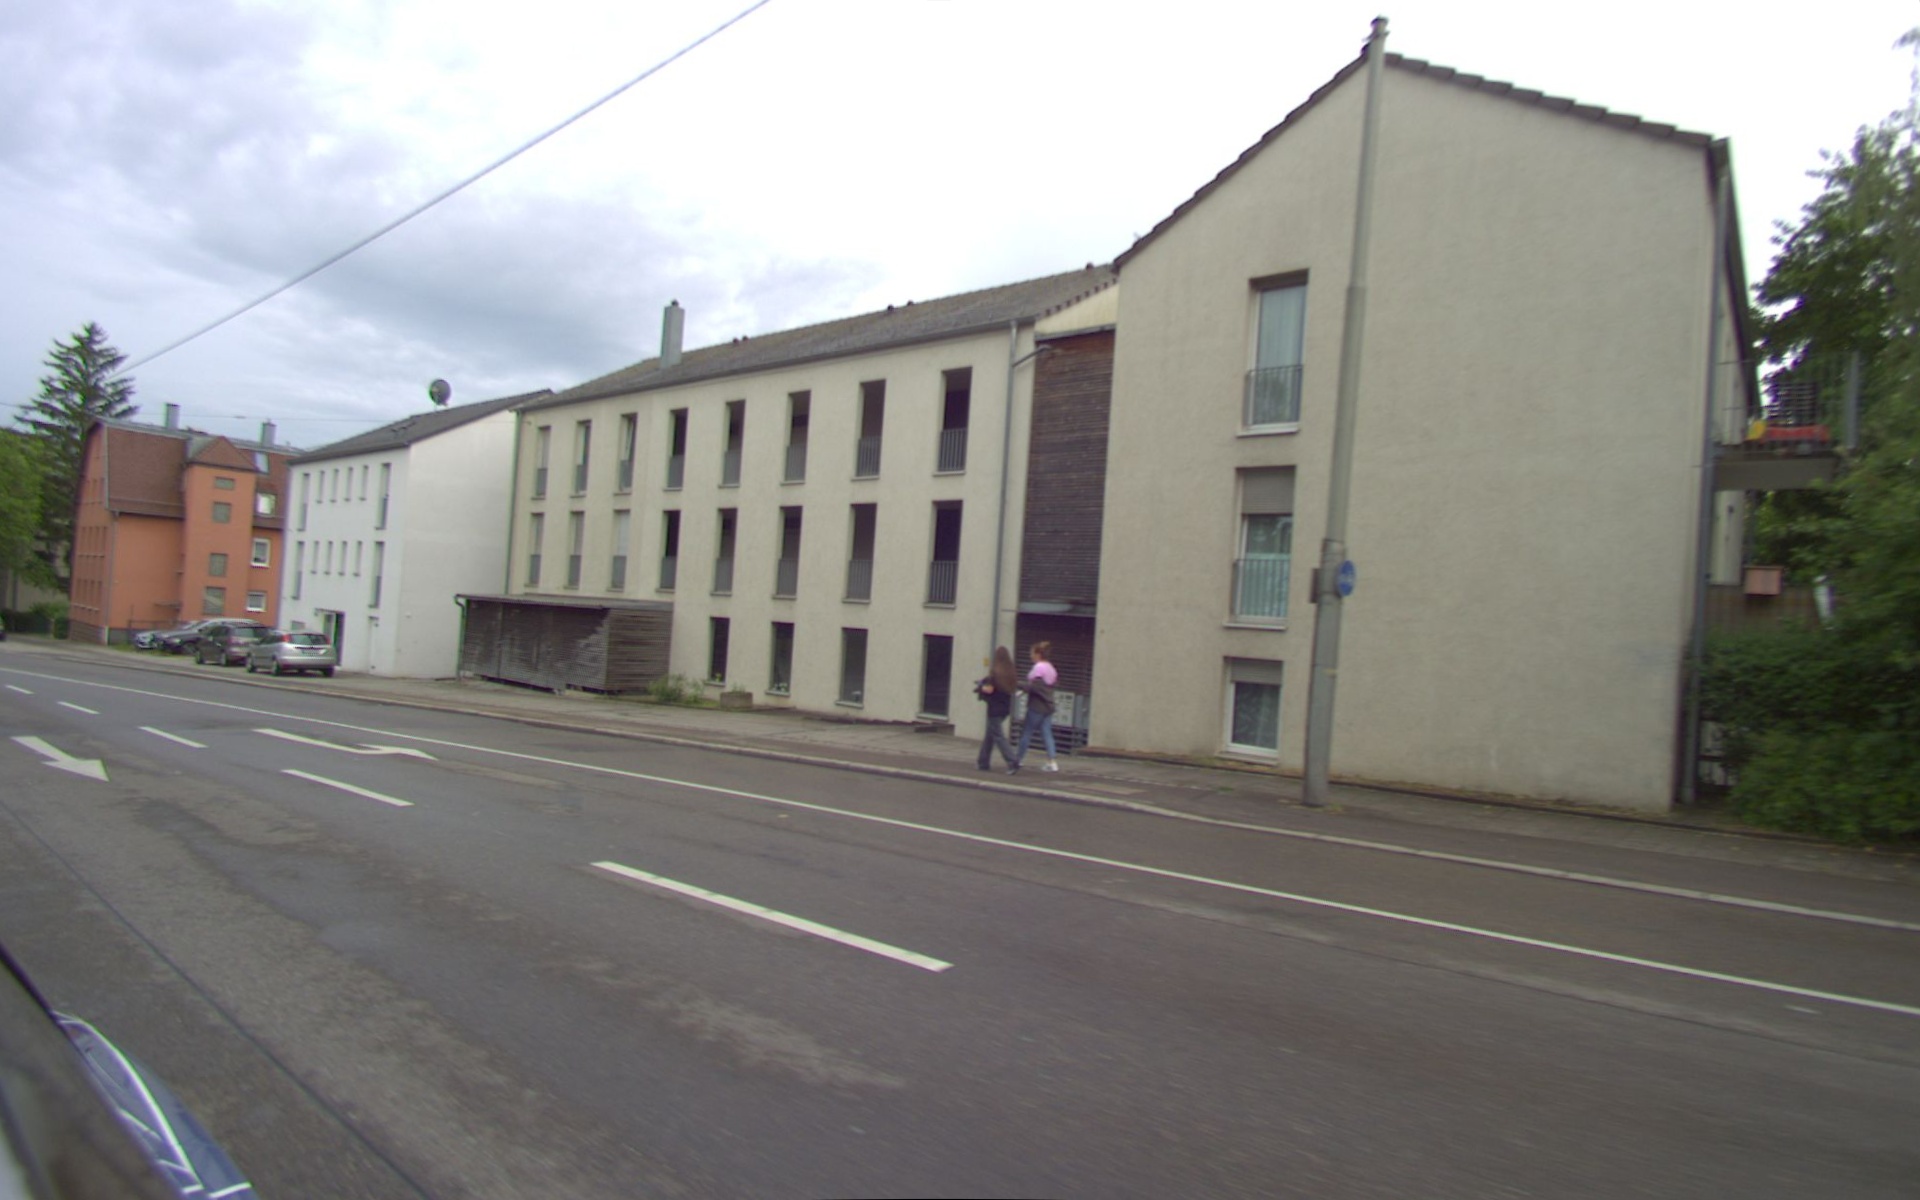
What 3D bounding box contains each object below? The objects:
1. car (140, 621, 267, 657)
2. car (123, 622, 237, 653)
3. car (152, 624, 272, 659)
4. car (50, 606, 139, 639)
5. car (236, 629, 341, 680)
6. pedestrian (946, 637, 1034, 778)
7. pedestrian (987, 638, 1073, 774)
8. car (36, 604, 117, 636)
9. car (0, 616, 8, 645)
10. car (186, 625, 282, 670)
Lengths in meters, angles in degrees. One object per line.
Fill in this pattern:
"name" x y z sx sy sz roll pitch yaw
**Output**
"car" -35.948 1.823 48.153 2.152 1.620 4.483 0 -2 42
"car" -38.089 1.830 49.491 2.000 1.444 4.117 0 -2 42
"car" -34.037 1.882 46.100 1.895 1.475 4.082 0 -2 41
"car" -55.315 1.460 64.722 1.998 2.029 3.948 0 -2 39
"car" -22.215 1.777 33.424 4.175 1.519 1.727 0 -4 40
"pedestrian" 0.386 1.355 13.095 0.911 1.719 0.633 -1 -3 41
"pedestrian" 0.934 1.385 13.509 0.911 1.719 0.633 -1 -3 41
"car" -58.429 1.338 66.975 3.939 2.029 2.002 3 -2 -43
"car" -49.478 1.424 50.742 4.192 1.421 1.767 0 -5 38
"car" -27.372 1.742 38.116 4.076 1.564 1.729 0 -1 36
